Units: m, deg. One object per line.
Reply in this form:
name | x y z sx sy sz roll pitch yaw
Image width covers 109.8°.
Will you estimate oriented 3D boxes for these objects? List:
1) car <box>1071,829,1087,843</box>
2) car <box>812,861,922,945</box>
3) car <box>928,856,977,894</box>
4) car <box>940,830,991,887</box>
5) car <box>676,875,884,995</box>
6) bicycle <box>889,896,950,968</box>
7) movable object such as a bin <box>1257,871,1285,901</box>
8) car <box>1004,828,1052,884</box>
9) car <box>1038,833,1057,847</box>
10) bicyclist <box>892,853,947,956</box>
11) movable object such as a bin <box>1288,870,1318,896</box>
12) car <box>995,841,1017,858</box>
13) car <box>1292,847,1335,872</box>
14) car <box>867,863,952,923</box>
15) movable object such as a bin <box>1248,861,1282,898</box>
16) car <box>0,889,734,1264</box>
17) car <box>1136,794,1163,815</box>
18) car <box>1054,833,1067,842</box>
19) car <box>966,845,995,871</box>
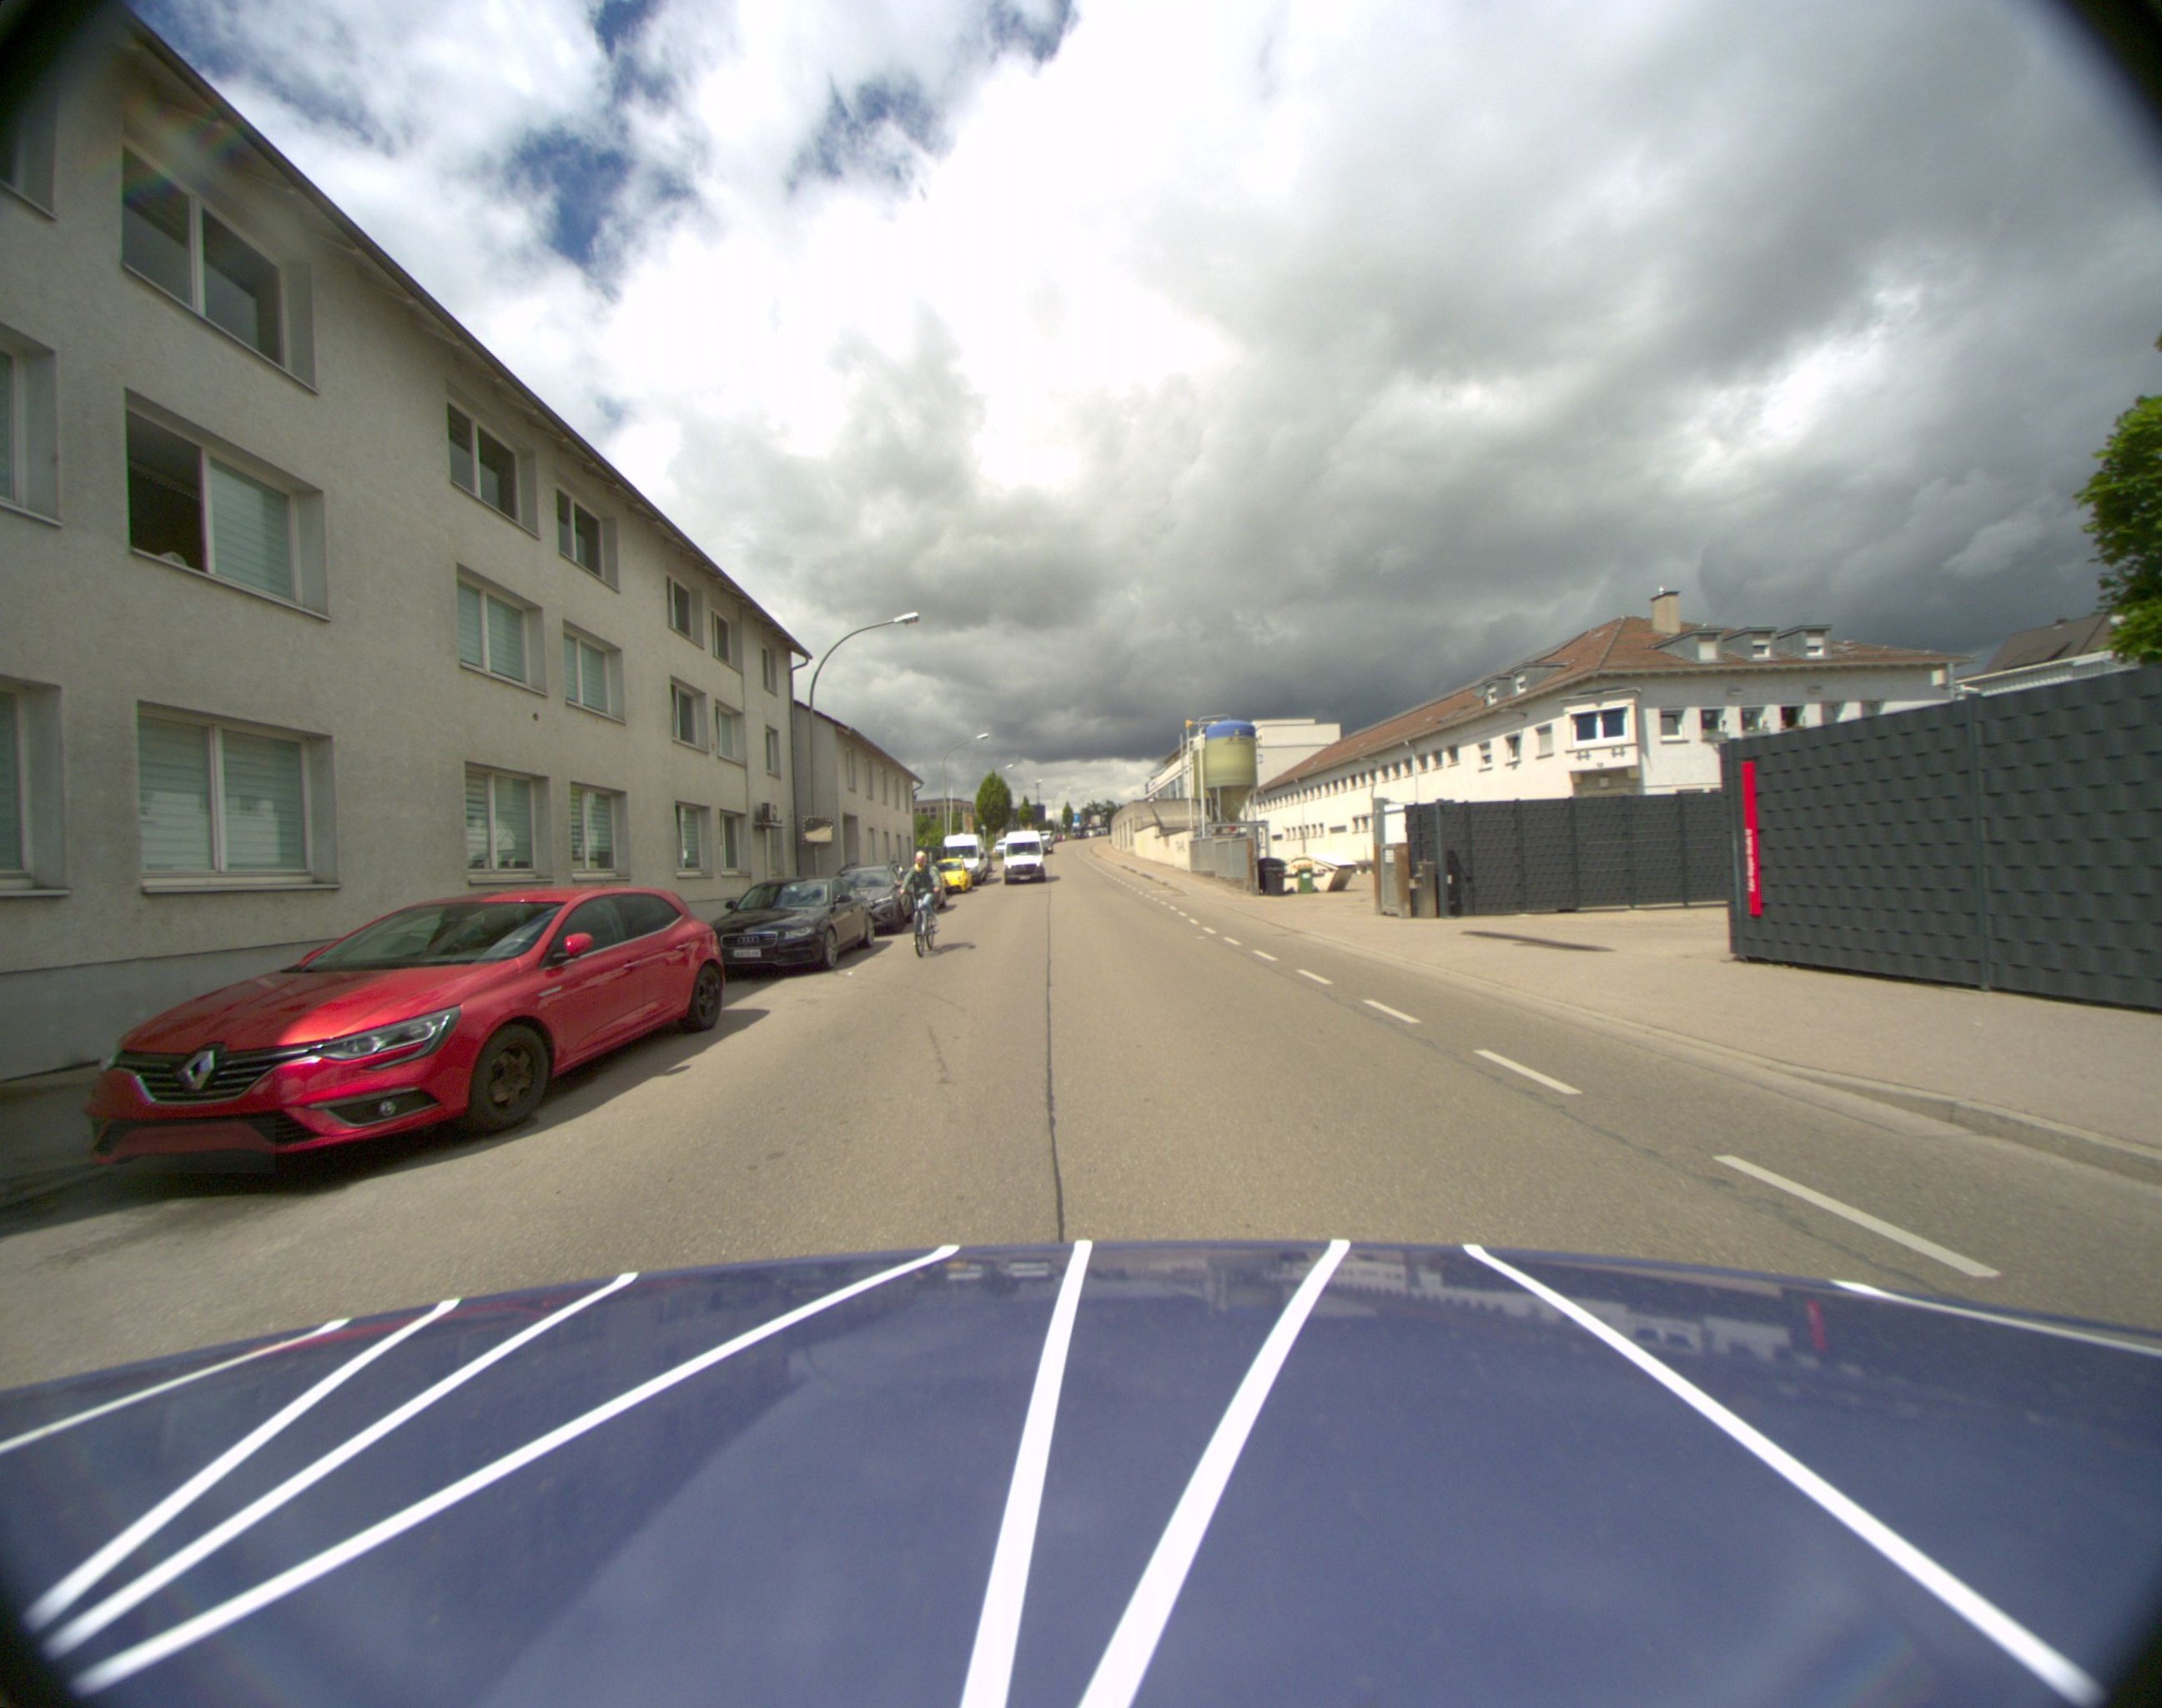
car | -0.346 -3.635 149.774 2.058 2.580 5.737 -2 2 12
car | -4.987 1.052 18.329 1.682 1.628 4.793 -5 0 -6
car | -5.651 0.903 33.769 1.597 1.439 3.788 -3 1 -2
car | -6.012 0.084 40.393 2.039 2.627 7.277 -3 2 -4
car | -4.688 1.159 12.693 1.740 1.415 4.859 -3 0 -4
bicycle | -2.679 1.270 12.778 0.742 0.969 1.731 -3 1 -5
movable object such as a bin | 6.978 1.167 27.960 0.874 1.044 0.740 0 0 1
car | -2.652 -0.015 39.427 2.082 2.577 6.059 -3 2 -2
car | -5.273 -2.250 120.615 1.979 1.993 5.548 -2 2 8
bicyclist | -2.701 0.822 12.765 0.742 1.618 0.731 -3 3 -5
movable object such as a bin | 8.739 1.127 29.971 0.736 0.996 0.857 -3 0 -19
car | -7.555 -0.465 77.160 1.847 1.557 4.463 -1 2 -1
car | 17.181 0.370 56.329 1.811 1.628 4.102 -3 2 -1
car | -5.210 1.114 23.705 1.709 1.501 5.085 -5 0 -4
movable object such as a bin | 6.984 0.960 28.934 0.993 1.385 1.215 0 0 -1
car | -4.397 1.127 5.652 1.739 1.464 4.260 -3 0 -2
car | 5.828 -4.212 65.029 1.811 1.628 4.102 -3 2 -1
car | -3.548 -2.860 132.313 1.596 1.473 3.501 -2 2 9
car | -6.724 0.249 51.362 1.571 1.502 4.091 -3 2 -3
